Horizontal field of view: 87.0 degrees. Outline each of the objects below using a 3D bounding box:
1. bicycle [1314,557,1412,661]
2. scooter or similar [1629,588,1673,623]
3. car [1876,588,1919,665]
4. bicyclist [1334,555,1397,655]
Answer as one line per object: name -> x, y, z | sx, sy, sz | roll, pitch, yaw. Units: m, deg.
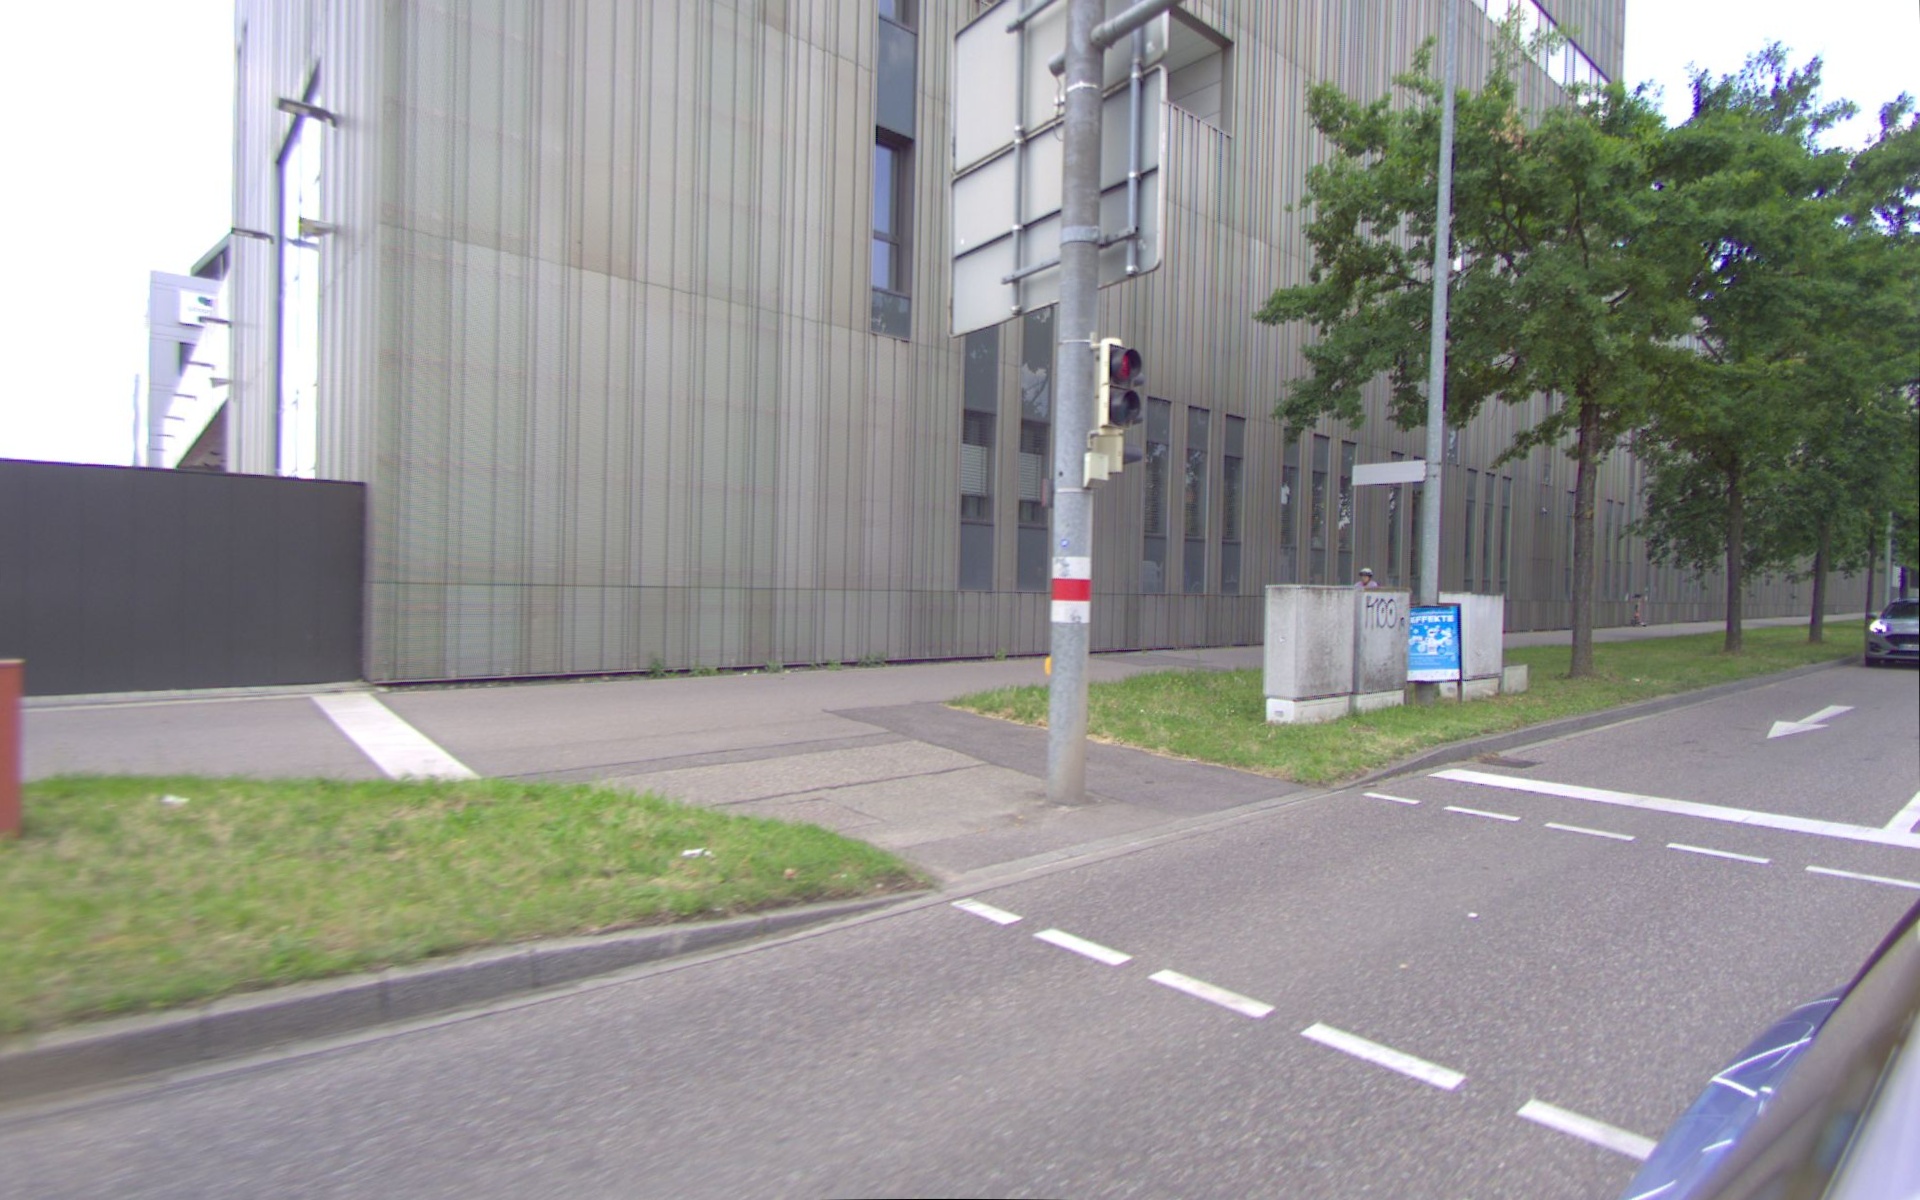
bicycle -> 7.489, 0.143, 18.726 | 2.492, 1.796, 0.720 | 0, 2, -45
scooter or similar -> 25.912, 0.184, 37.944 | 2.436, 1.261, 0.706 | 0, 3, -41
car -> 21.582, 0.547, 22.166 | 3.885, 1.594, 1.822 | 0, 0, -41
bicyclist -> 7.514, 0.082, 18.754 | 0.972, 1.791, 0.716 | 0, 2, -44
